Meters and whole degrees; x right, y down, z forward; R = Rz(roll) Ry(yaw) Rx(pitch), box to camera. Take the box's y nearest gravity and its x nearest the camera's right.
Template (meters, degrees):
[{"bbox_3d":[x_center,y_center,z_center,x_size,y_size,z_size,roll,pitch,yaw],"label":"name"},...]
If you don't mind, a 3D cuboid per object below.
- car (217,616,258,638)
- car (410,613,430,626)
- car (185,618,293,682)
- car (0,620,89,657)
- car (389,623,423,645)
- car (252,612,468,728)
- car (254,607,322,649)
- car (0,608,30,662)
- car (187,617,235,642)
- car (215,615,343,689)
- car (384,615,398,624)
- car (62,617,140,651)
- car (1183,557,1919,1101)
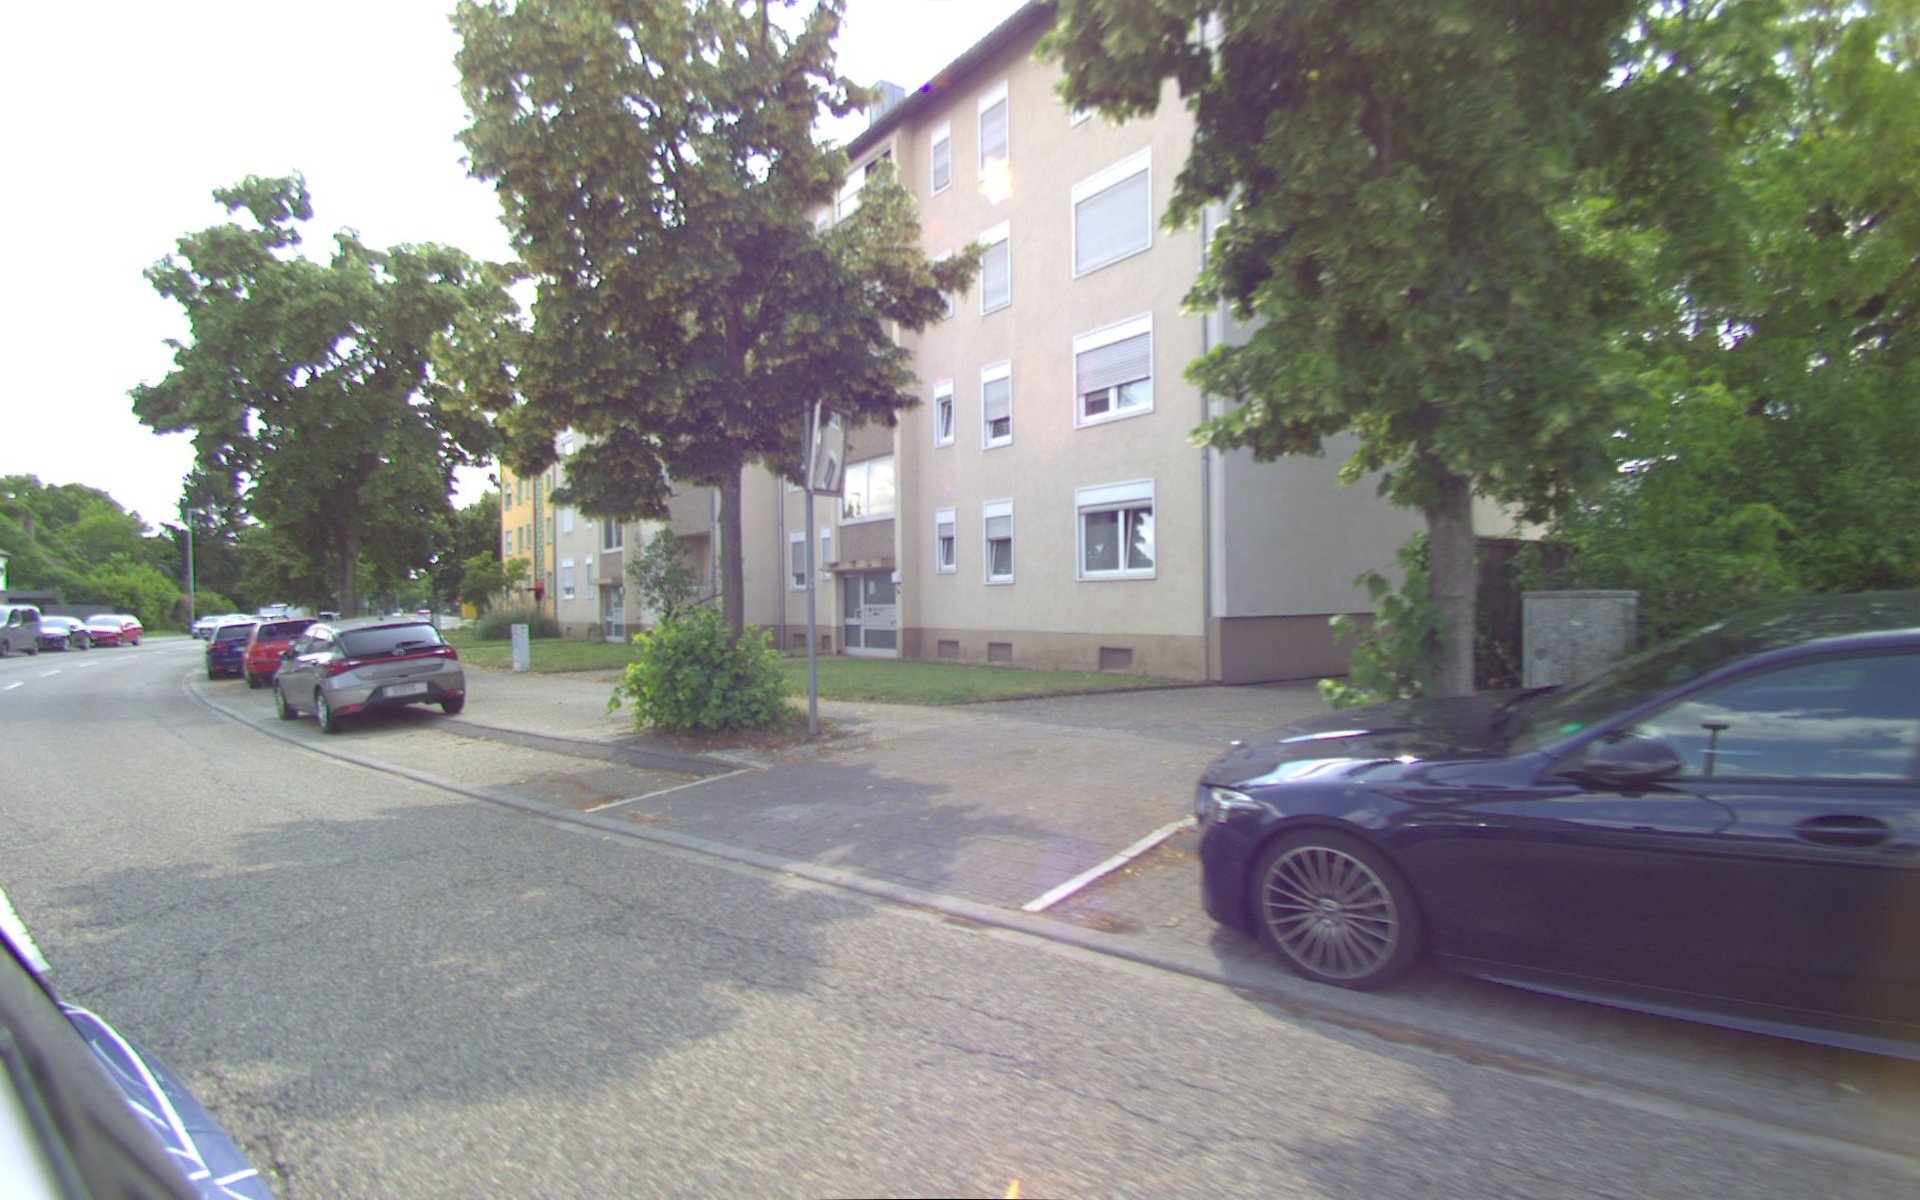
[{"bbox_3d":[-51.596,1.919,72.340,1.756,1.453,3.979,-1,0,-26],"label":"car"},{"bbox_3d":[-62.477,2.264,117.107,1.756,1.453,3.979,-1,0,-23],"label":"car"},{"bbox_3d":[-18.977,1.264,26.581,1.734,1.500,3.684,-1,0,-45],"label":"car"},{"bbox_3d":[-38.619,1.585,42.781,1.814,1.429,3.901,-1,0,-27],"label":"car"},{"bbox_3d":[-40.199,2.465,73.495,1.756,1.453,3.979,-1,0,-23],"label":"car"},{"bbox_3d":[-8.838,0.922,14.763,4.001,1.429,1.734,-1,0,44],"label":"car"},{"bbox_3d":[-30.078,1.225,45.386,1.792,1.737,3.694,-1,0,-22],"label":"car"},{"bbox_3d":[-35.482,1.242,36.649,1.811,1.880,4.293,2,-2,-32],"label":"car"},{"bbox_3d":[-47.961,1.871,64.908,1.756,1.453,3.979,-1,0,-26],"label":"car"},{"bbox_3d":[-15.447,1.112,22.892,1.734,1.500,3.684,-1,0,-45],"label":"car"},{"bbox_3d":[-90.587,3.080,161.175,1.756,1.453,3.979,-1,0,-27],"label":"car"},{"bbox_3d":[-41.017,1.602,48.434,1.756,1.497,4.295,3,-2,-26],"label":"car"},{"bbox_3d":[3.293,0.625,3.466,4.625,1.488,1.714,-1,3,39],"label":"car"}]
